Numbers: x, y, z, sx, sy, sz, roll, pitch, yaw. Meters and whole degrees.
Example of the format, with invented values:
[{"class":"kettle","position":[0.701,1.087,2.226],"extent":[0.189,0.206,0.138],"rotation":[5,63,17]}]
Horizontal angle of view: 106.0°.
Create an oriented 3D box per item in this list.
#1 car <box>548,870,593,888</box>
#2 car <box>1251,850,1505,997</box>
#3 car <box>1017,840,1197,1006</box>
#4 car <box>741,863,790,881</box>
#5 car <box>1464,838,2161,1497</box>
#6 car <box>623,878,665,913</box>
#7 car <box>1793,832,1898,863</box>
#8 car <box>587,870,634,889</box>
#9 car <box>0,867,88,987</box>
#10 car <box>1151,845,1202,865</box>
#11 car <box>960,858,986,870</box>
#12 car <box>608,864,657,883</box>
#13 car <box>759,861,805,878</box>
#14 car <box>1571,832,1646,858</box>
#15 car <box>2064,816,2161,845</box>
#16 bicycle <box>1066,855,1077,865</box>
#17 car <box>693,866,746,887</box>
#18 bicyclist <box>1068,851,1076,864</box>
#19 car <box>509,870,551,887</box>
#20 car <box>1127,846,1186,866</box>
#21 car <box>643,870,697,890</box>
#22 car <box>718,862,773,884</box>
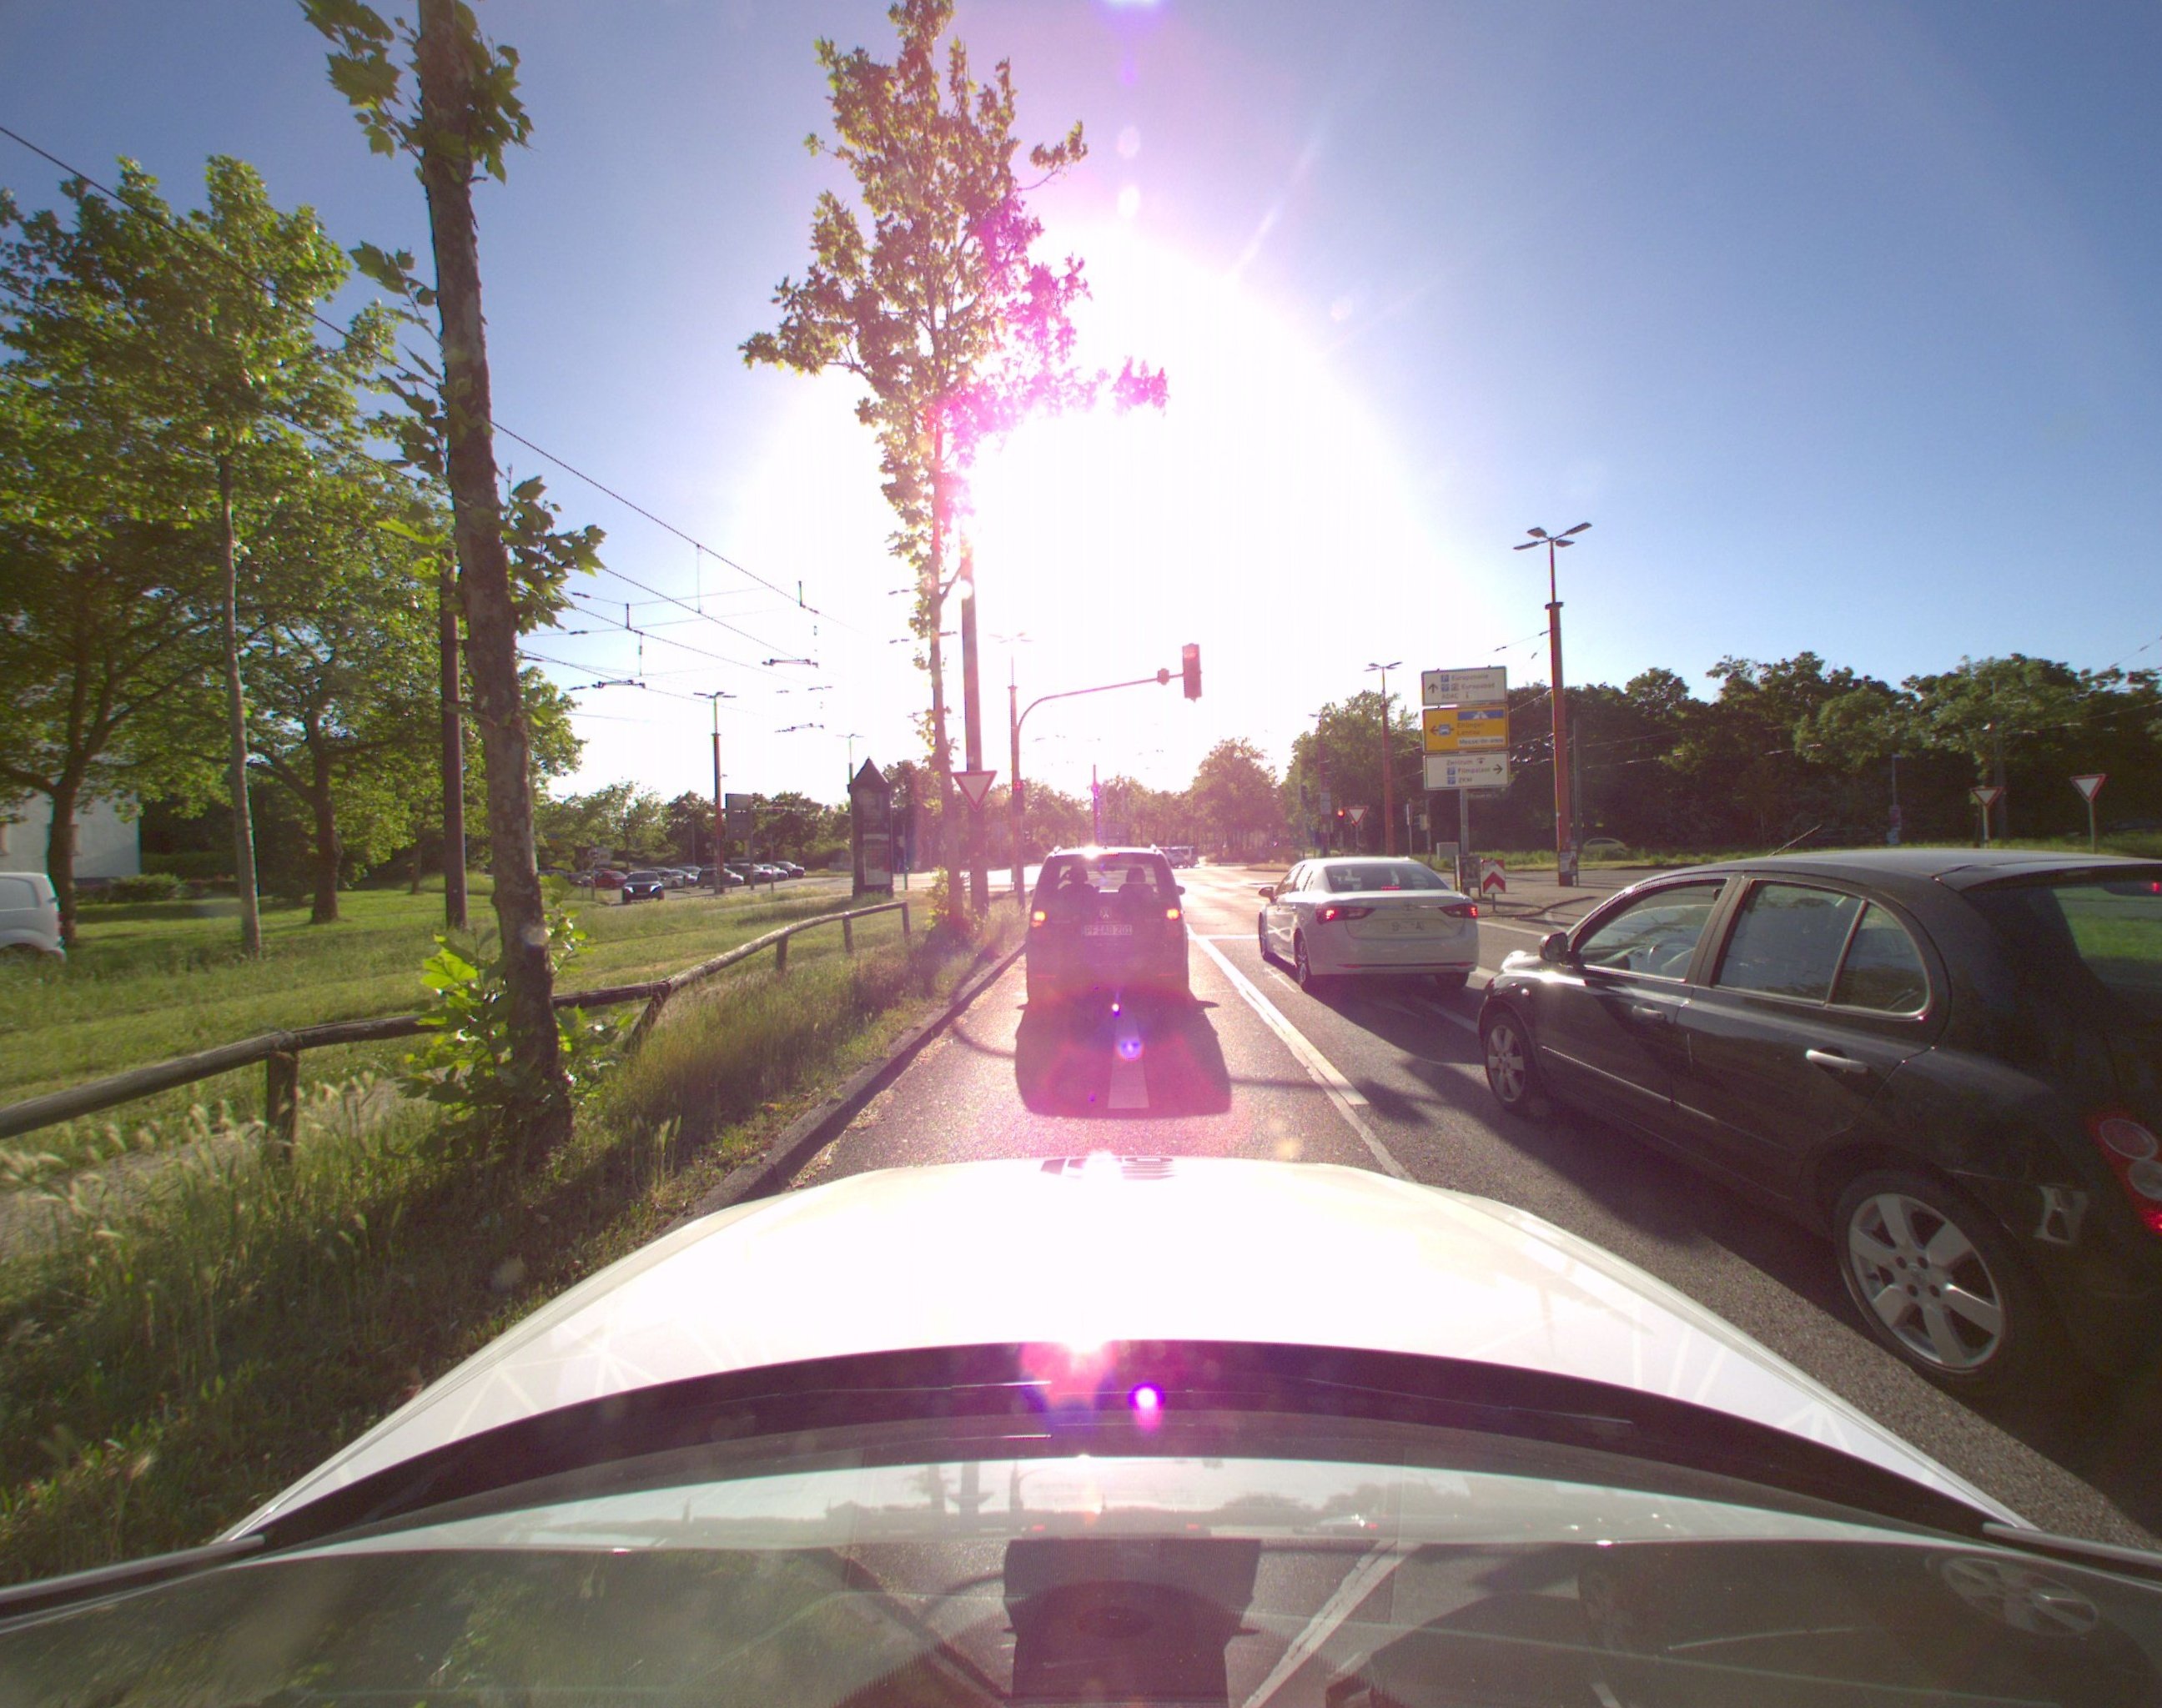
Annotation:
[{"class":"car","position":[-45.084,2.226,71.900],"extent":[4.145,1.520,1.667],"rotation":[-1,0,32]},{"class":"car","position":[3.370,0.707,10.189],"extent":[1.792,1.440,4.329],"rotation":[0,-1,3]},{"class":"car","position":[0.363,0.688,10.084],"extent":[1.731,1.602,4.329],"rotation":[0,-1,3]},{"class":"car","position":[-26.838,1.527,69.187],"extent":[4.102,1.415,1.553],"rotation":[-1,0,28]},{"class":"car","position":[3.177,0.693,3.491],"extent":[1.570,1.440,3.443],"rotation":[0,-1,2]},{"class":"car","position":[-23.246,2.155,43.416],"extent":[1.659,1.618,4.259],"rotation":[-1,0,-25]},{"class":"car","position":[44.378,-0.344,47.389],"extent":[4.164,1.681,1.667],"rotation":[-1,0,28]},{"class":"car","position":[-39.446,2.154,68.250],"extent":[4.145,1.520,1.667],"rotation":[-1,0,32]},{"class":"car","position":[-17.394,1.140,11.049],"extent":[1.821,1.821,4.901],"rotation":[-1,0,-1]},{"class":"car","position":[8.357,0.091,71.289],"extent":[4.080,1.750,1.666],"rotation":[-1,0,27]},{"class":"car","position":[-13.479,1.212,102.199],"extent":[1.638,1.403,4.150],"rotation":[-1,0,17]},{"class":"car","position":[-40.460,1.732,73.430],"extent":[4.583,1.647,1.767],"rotation":[-1,0,32]},{"class":"car","position":[-26.735,1.385,72.811],"extent":[4.102,1.415,1.553],"rotation":[-1,0,28]},{"class":"car","position":[36.246,-0.588,56.069],"extent":[4.164,1.681,1.667],"rotation":[-1,0,28]},{"class":"car","position":[57.330,-1.272,44.762],"extent":[3.877,1.457,1.667],"rotation":[-1,0,29]},{"class":"bicycle","position":[-1.397,0.909,122.777],"extent":[0.969,1.388,2.991],"rotation":[-2,0,14]},{"class":"car","position":[-27.335,1.698,61.568],"extent":[3.793,1.441,1.667],"rotation":[-1,0,29]},{"class":"bicyclist","position":[-1.398,0.494,122.819],"extent":[0.969,1.904,1.055],"rotation":[-2,0,14]},{"class":"car","position":[-51.131,2.266,75.520],"extent":[4.145,1.520,1.667],"rotation":[-1,0,32]},{"class":"car","position":[6.337,0.161,68.441],"extent":[4.616,1.625,1.667],"rotation":[-1,0,28]},{"class":"car","position":[-32.669,2.078,64.732],"extent":[4.577,1.520,1.667],"rotation":[-1,0,32]},{"class":"car","position":[-26.930,1.520,65.350],"extent":[4.583,1.647,1.667],"rotation":[-1,0,32]}]
